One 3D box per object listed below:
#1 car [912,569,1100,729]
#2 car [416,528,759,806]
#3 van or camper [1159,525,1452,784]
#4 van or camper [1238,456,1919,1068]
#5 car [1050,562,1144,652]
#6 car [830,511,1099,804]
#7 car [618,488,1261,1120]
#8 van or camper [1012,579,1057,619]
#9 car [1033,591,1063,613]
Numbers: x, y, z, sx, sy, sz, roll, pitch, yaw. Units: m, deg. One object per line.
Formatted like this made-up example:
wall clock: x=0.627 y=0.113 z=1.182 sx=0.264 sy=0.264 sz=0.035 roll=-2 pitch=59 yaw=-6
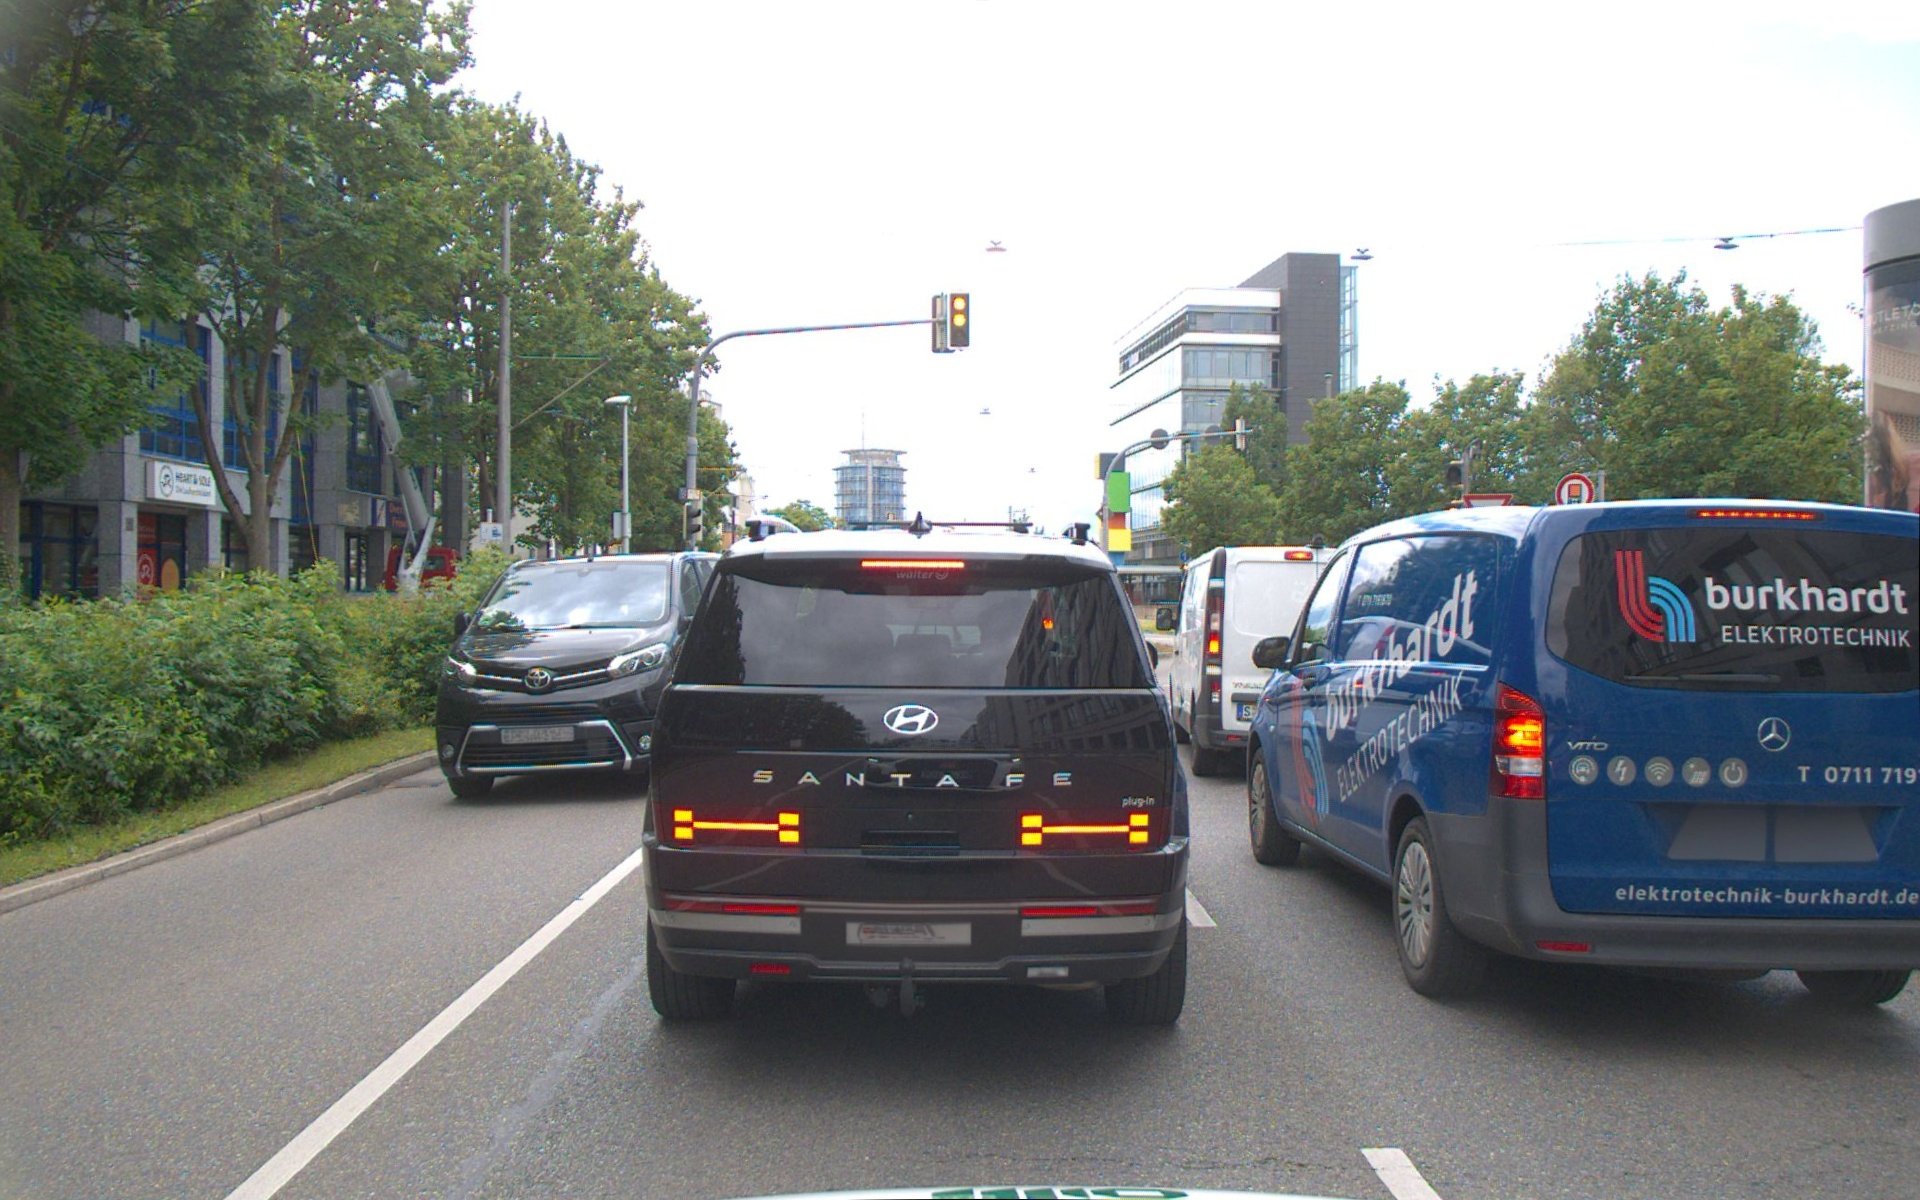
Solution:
car: x=0.682 y=0.553 z=20.447 sx=1.738 sy=1.747 sz=4.342 roll=1 pitch=0 yaw=9
car: x=-2.998 y=0.500 z=14.410 sx=1.953 sy=1.982 sz=4.735 roll=-1 pitch=0 yaw=-1
van or camper: x=3.038 y=0.425 z=15.544 sx=1.952 sy=2.049 sz=4.654 roll=1 pitch=0 yaw=2
van or camper: x=2.675 y=0.504 z=7.792 sx=1.822 sy=1.944 sz=5.031 roll=0 pitch=0 yaw=-1
car: x=3.280 y=0.174 z=40.269 sx=1.952 sy=2.049 sz=4.000 roll=1 pitch=0 yaw=0
car: x=0.004 y=0.391 z=13.491 sx=1.876 sy=2.038 sz=3.879 roll=0 pitch=0 yaw=-1
car: x=-0.079 y=0.569 z=6.652 sx=1.831 sy=1.791 sz=3.879 roll=0 pitch=0 yaw=-1
van or camper: x=5.046 y=-0.035 z=110.856 sx=1.951 sy=2.591 sz=6.583 roll=0 pitch=0 yaw=12
car: x=7.014 y=0.180 z=131.923 sx=1.954 sy=1.713 sz=3.997 roll=1 pitch=0 yaw=-3
